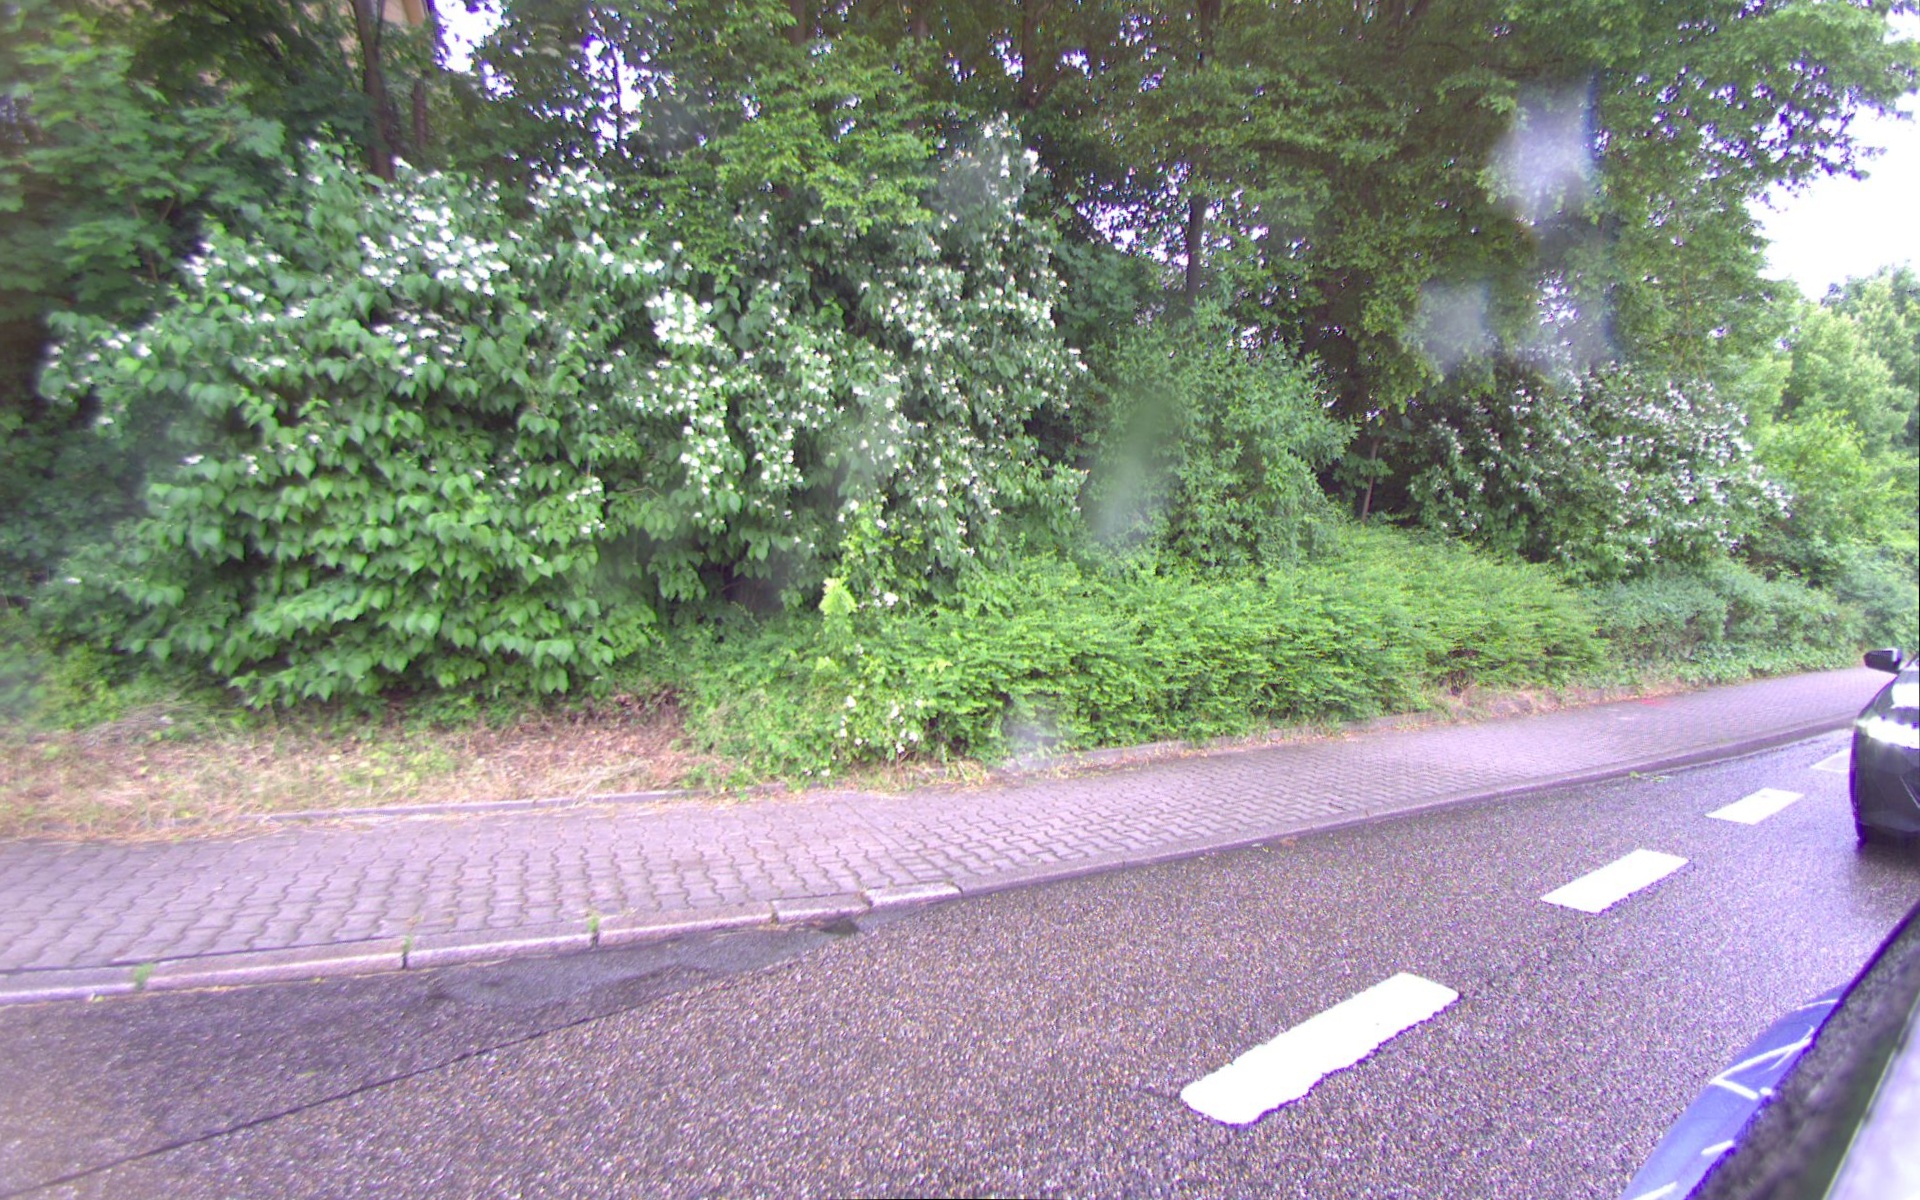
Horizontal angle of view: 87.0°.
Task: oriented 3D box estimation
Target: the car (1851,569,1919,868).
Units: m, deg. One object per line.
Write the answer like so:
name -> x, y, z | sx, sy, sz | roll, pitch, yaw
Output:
car -> 7.039, 0.617, 6.156 | 4.048, 1.574, 1.867 | -2, 3, -41
